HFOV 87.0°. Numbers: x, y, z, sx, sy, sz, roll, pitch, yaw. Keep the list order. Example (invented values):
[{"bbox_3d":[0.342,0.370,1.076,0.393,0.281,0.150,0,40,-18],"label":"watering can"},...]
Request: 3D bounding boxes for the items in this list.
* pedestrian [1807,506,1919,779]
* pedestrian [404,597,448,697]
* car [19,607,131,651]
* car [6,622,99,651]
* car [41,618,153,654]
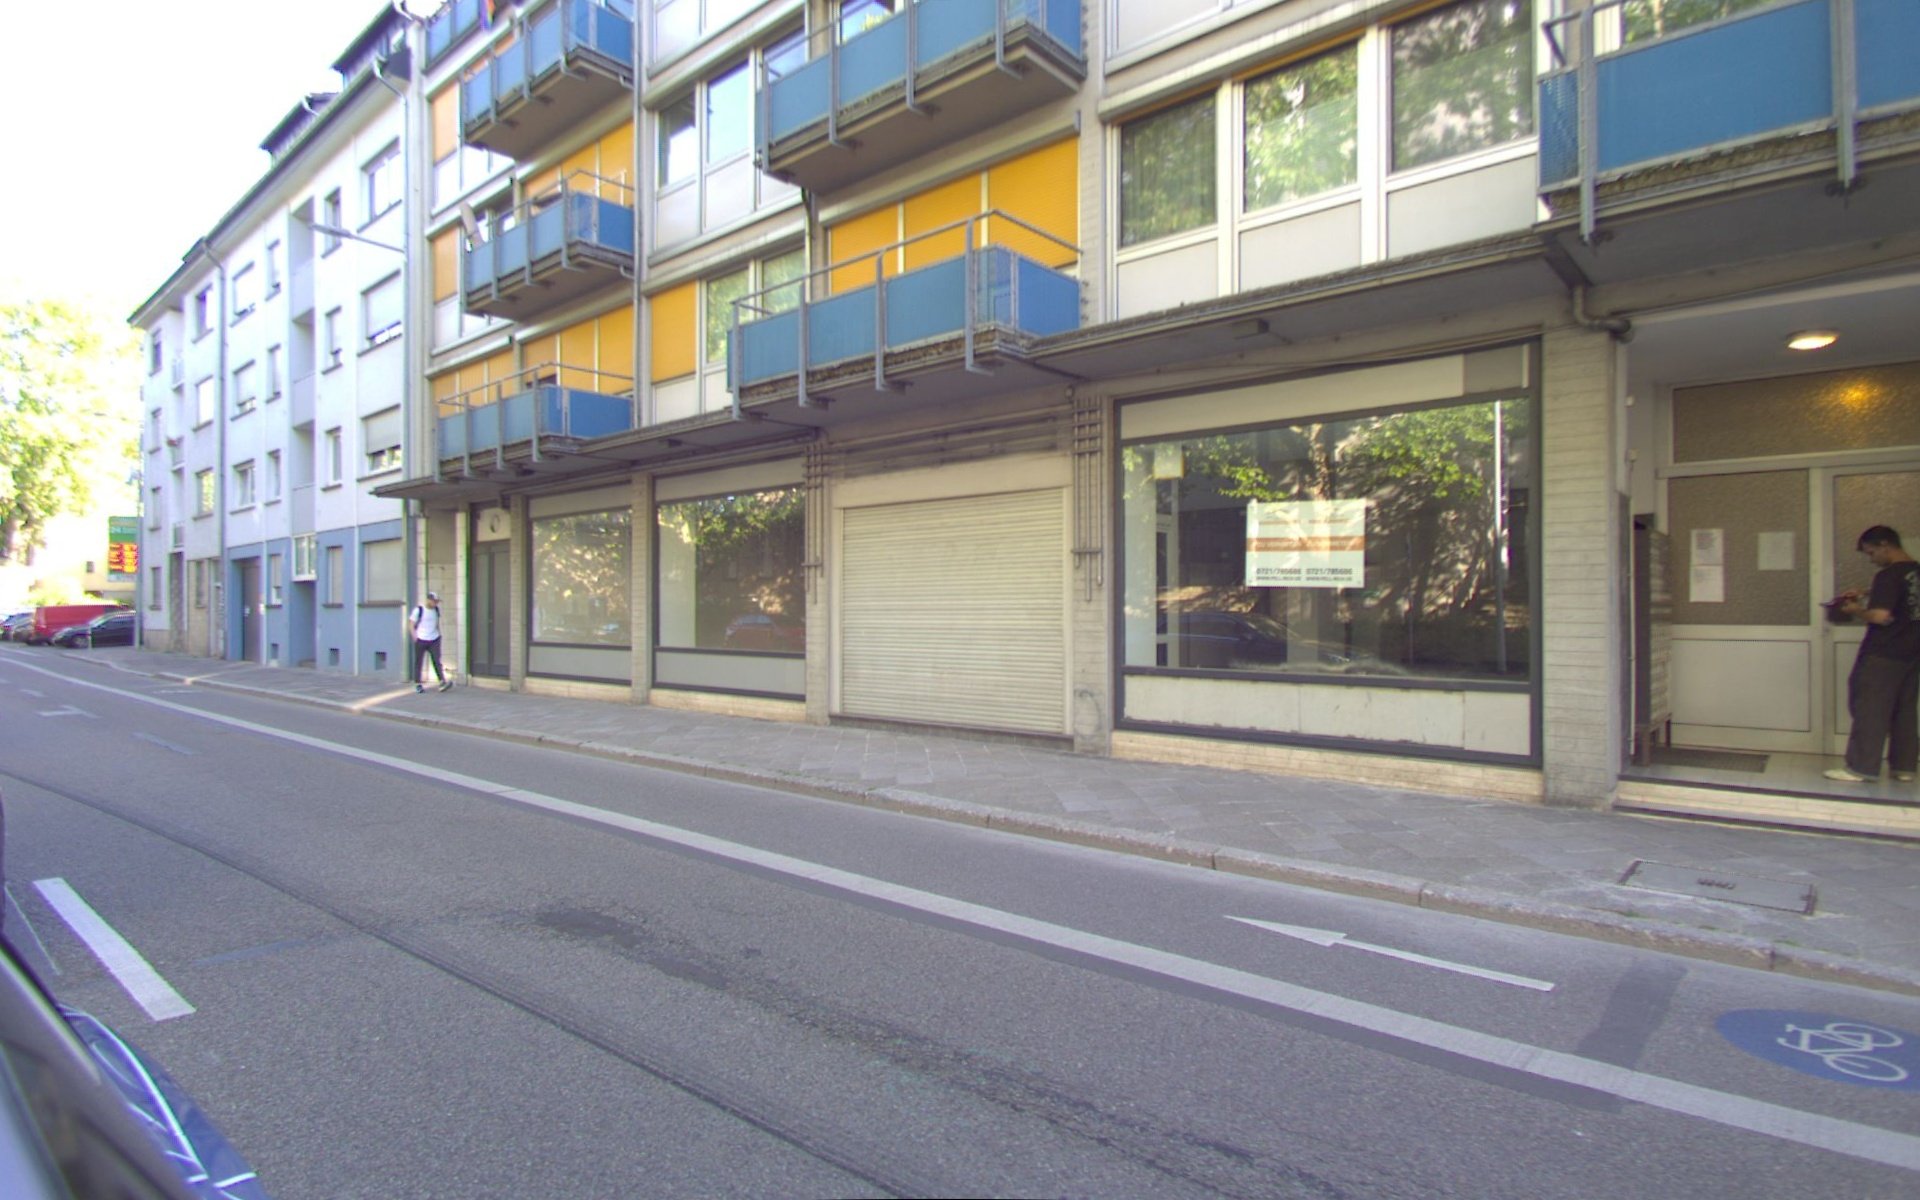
[{"bbox_3d":[6.196,0.273,6.746,0.623,1.754,0.526,-1,-1,8],"label":"pedestrian"},{"bbox_3d":[-9.463,0.817,17.930,0.343,1.739,0.562,-1,1,41],"label":"pedestrian"},{"bbox_3d":[-42.683,1.347,48.880,1.635,1.937,3.878,-1,1,40],"label":"car"},{"bbox_3d":[-44.962,1.770,50.203,1.294,1.258,3.283,-1,1,40],"label":"car"},{"bbox_3d":[-38.676,1.570,45.399,1.635,1.422,3.623,-1,1,40],"label":"car"}]
